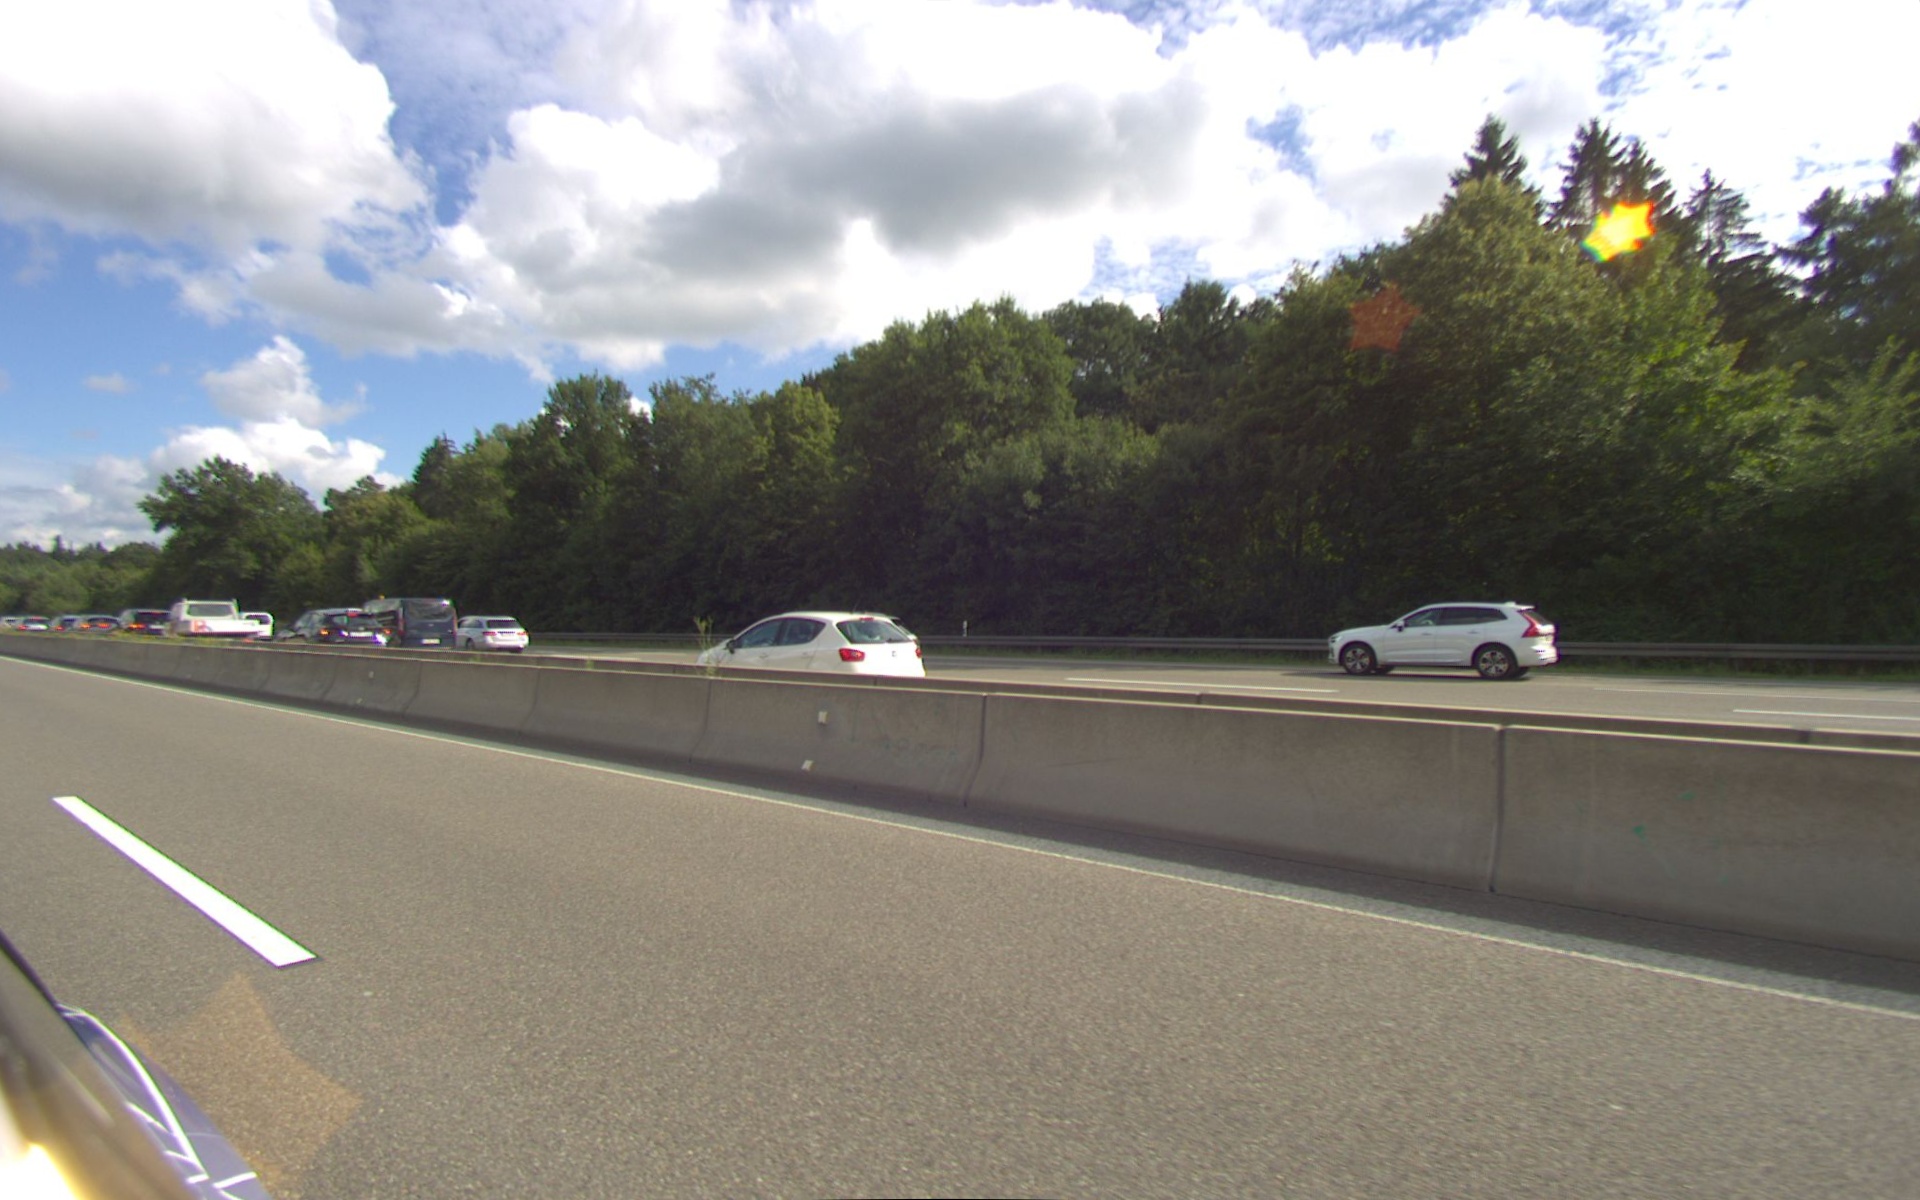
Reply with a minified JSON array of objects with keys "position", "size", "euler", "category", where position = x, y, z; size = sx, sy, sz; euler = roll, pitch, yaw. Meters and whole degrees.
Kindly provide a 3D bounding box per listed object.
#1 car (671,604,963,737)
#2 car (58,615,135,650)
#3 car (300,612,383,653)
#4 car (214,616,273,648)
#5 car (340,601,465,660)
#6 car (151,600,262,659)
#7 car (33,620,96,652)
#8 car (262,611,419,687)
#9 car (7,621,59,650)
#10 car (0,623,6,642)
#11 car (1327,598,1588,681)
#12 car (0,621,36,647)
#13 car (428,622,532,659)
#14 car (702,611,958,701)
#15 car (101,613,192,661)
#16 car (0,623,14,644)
[{"position":[-2.169,0.938,14.697],"size":[4.240,1.653,1.893],"euler":[-1,-2,41],"category":"car"},{"position":[-41.649,1.555,48.759],"size":[4.547,1.630,2.148],"euler":[-1,-2,41],"category":"car"},{"position":[-30.104,1.547,49.157],"size":[5.339,1.865,1.929],"euler":[-1,-2,41],"category":"car"},{"position":[-42.854,1.921,60.484],"size":[4.547,1.813,1.827],"euler":[-1,-2,41],"category":"car"},{"position":[-18.425,0.986,33.354],"size":[5.123,1.819,1.973],"euler":[-1,-2,41],"category":"car"},{"position":[-27.938,1.081,37.426],"size":[5.820,2.029,2.136],"euler":[-1,-2,42],"category":"car"},{"position":[-48.088,1.900,54.305],"size":[4.547,1.630,1.973],"euler":[-1,-2,41],"category":"car"},{"position":[-16.291,1.221,26.503],"size":[4.873,1.815,2.148],"euler":[-1,-2,41],"category":"car"},{"position":[-54.665,2.053,59.657],"size":[4.547,1.630,1.724],"euler":[-1,-2,41],"category":"car"},{"position":[-79.535,2.687,82.914],"size":[3.998,1.564,1.621],"euler":[-1,-2,41],"category":"car"},{"position":[11.060,0.861,22.713],"size":[4.873,1.649,2.148],"euler":[-1,-2,41],"category":"car"},{"position":[-60.529,2.173,64.733],"size":[3.998,1.630,1.644],"euler":[-1,-2,41],"category":"car"},{"position":[-17.919,1.486,37.685],"size":[4.547,1.312,1.845],"euler":[-1,-2,41],"category":"car"},{"position":[-2.614,0.991,19.388],"size":[5.129,1.496,1.973],"euler":[-1,-2,41],"category":"car"},{"position":[-35.482,1.570,44.084],"size":[5.393,1.962,2.148],"euler":[-1,-2,41],"category":"car"},{"position":[-73.252,2.524,76.645],"size":[3.998,1.564,1.973],"euler":[-1,-2,41],"category":"car"}]
